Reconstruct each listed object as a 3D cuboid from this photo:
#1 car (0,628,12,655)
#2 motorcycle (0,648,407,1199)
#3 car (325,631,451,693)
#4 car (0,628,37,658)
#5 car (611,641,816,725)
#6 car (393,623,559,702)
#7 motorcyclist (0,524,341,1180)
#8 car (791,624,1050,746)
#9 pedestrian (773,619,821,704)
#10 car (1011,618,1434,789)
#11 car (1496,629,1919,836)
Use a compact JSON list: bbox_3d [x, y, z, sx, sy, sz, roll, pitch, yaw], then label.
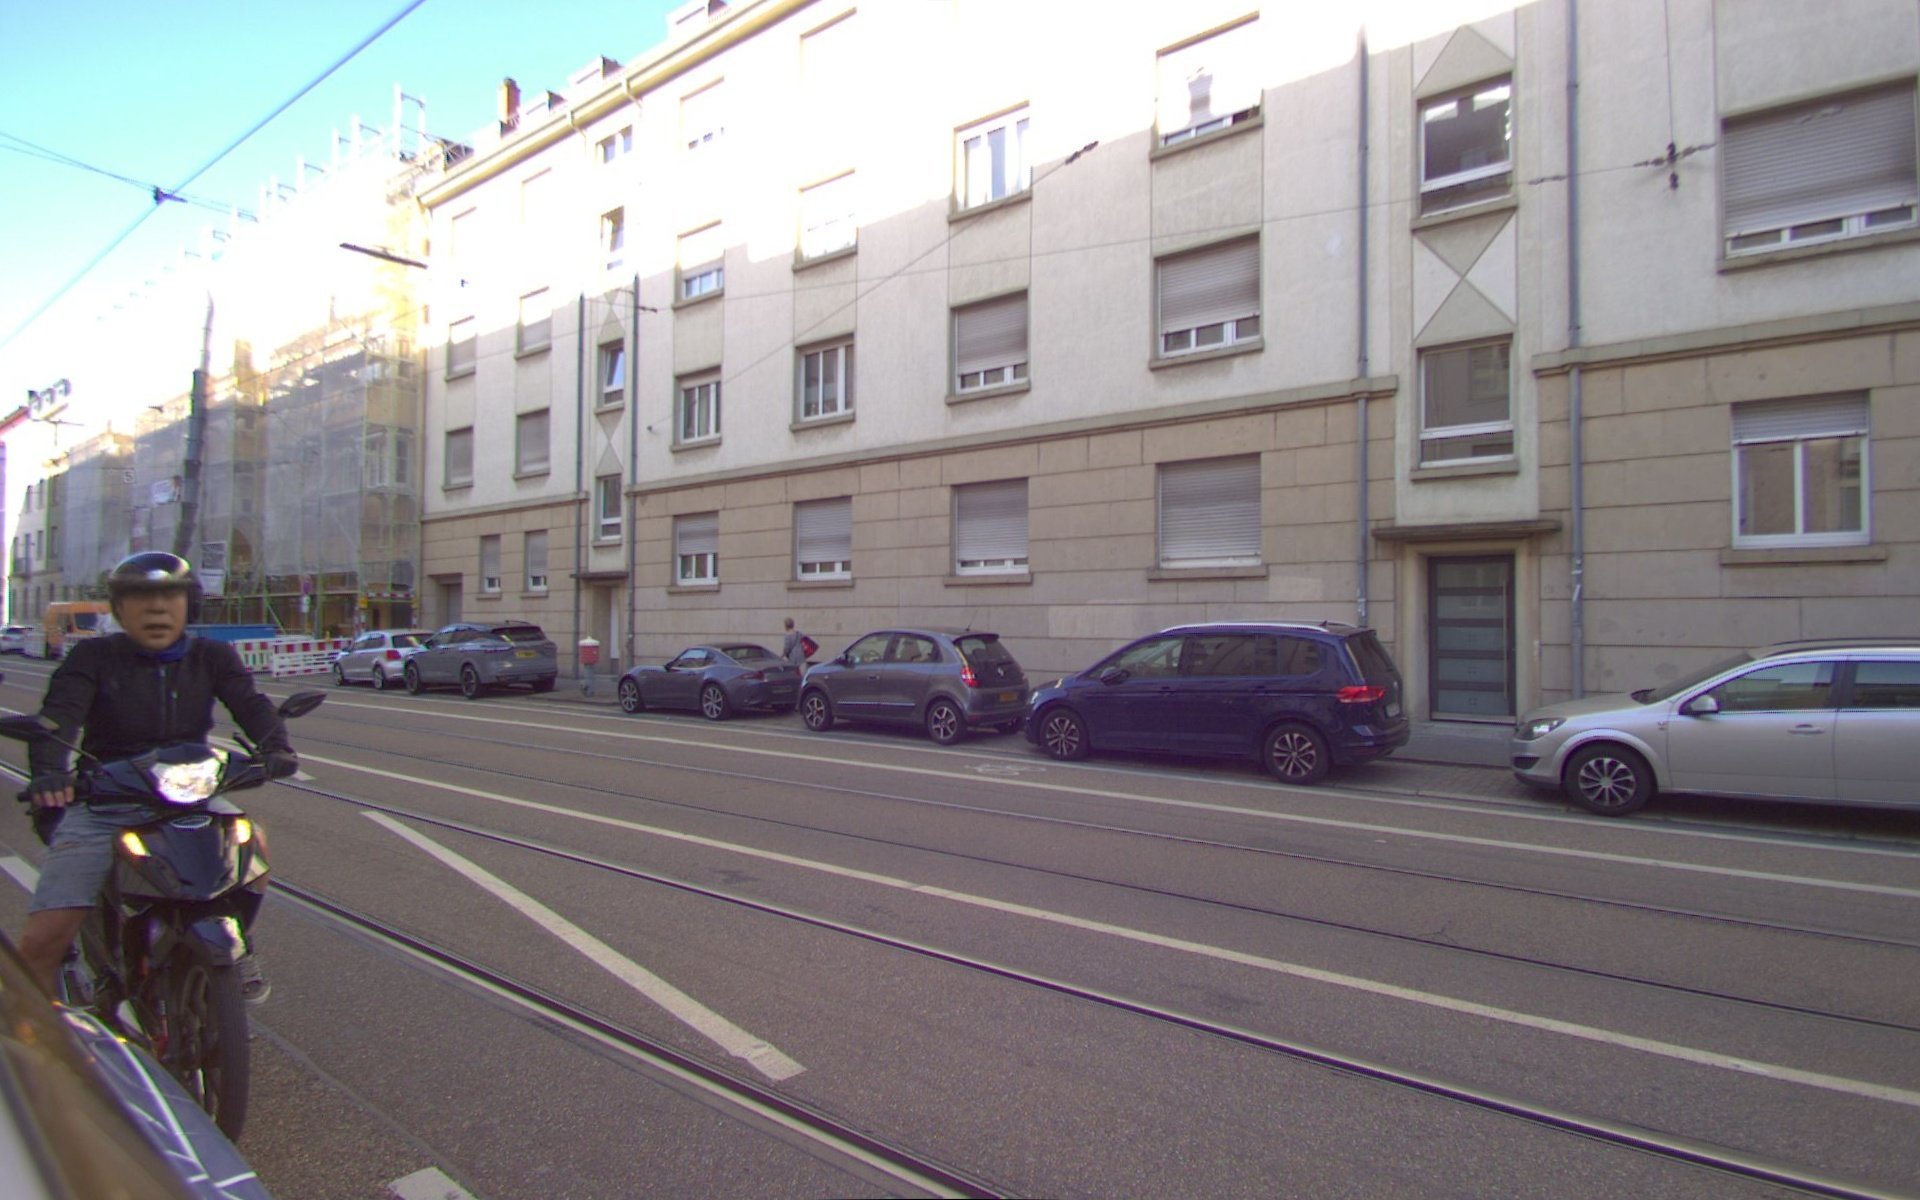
[{"bbox_3d":[-54.585,2.328,56.823,3.964,1.498,1.662,-2,-1,42],"label":"car"},{"bbox_3d":[-2.644,0.819,3.242,2.272,1.302,0.781,-2,-3,41],"label":"motorcycle"},{"bbox_3d":[-14.388,1.500,25.402,3.506,1.423,1.524,-1,-1,38],"label":"car"},{"bbox_3d":[-50.069,2.272,53.346,3.964,1.498,1.662,-2,-1,42],"label":"car"},{"bbox_3d":[-4.318,1.368,17.505,3.681,1.244,1.502,-1,-1,38],"label":"car"},{"bbox_3d":[-10.887,1.335,22.665,4.201,1.611,1.675,-1,-1,38],"label":"car"},{"bbox_3d":[-2.547,0.658,3.165,0.899,1.668,0.781,-2,-3,41],"label":"motorcyclist"},{"bbox_3d":[-0.632,1.135,14.659,3.535,1.539,1.659,-1,-1,38],"label":"car"},{"bbox_3d":[-3.072,1.147,19.099,0.693,1.553,0.563,-2,-3,39],"label":"pedestrian"},{"bbox_3d":[2.888,1.034,11.681,4.383,1.611,1.779,-1,-1,38],"label":"car"},{"bbox_3d":[7.122,1.004,8.506,4.383,1.489,1.779,-1,-1,38],"label":"car"}]
